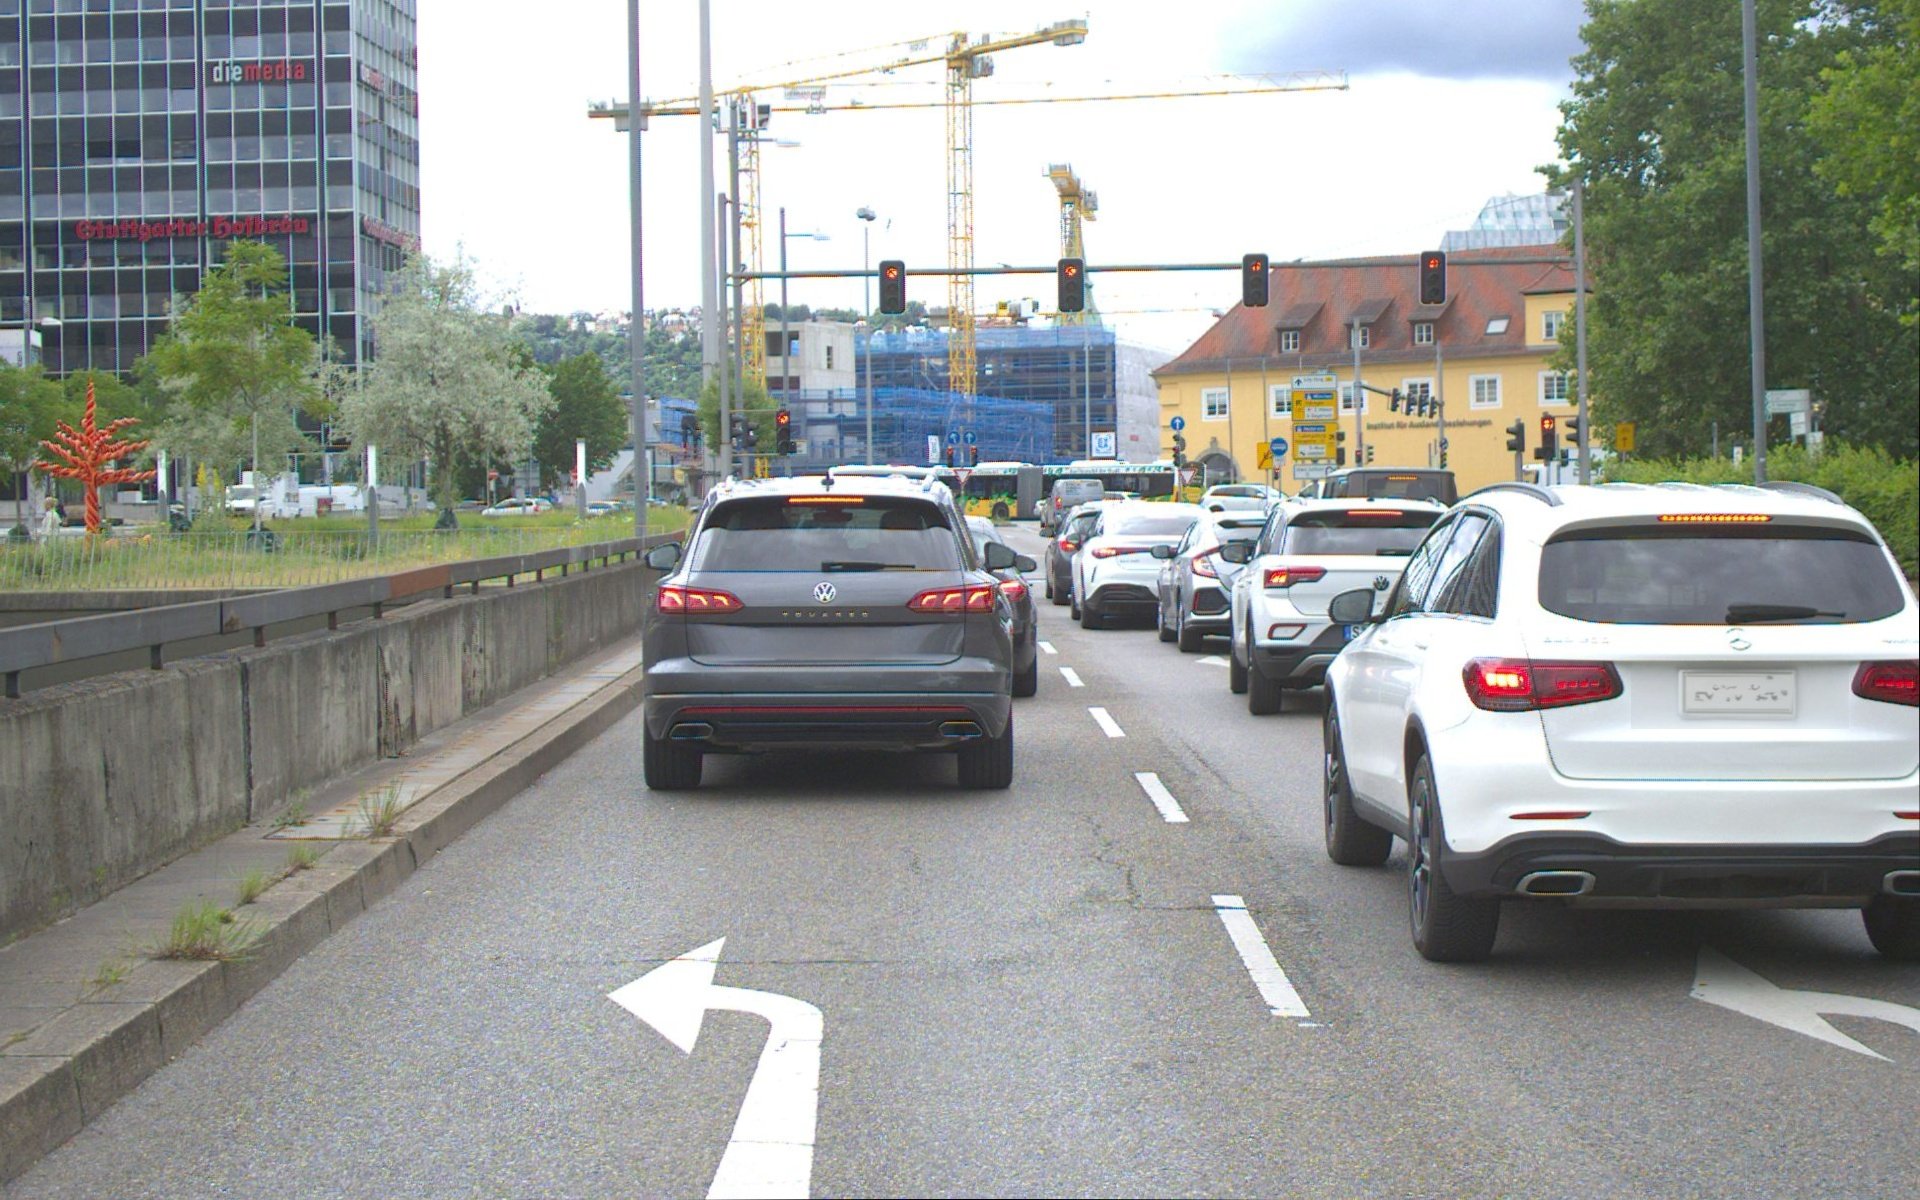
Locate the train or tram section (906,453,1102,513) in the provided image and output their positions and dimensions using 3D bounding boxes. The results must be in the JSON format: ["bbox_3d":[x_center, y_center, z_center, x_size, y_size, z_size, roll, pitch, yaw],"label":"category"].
[{"bbox_3d":[2.220,-6.067,177.824,10.417,2.999,2.591,2,1,35],"label":"train or tram section"}]

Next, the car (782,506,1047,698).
[{"bbox_3d":[-0.371,-0.037,27.615,1.951,1.379,3.931,1,2,-1],"label":"car"}]

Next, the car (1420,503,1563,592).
[{"bbox_3d":[9.122,-0.911,59.213,1.757,1.442,3.634,1,1,-2],"label":"car"}]

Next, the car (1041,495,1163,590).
[{"bbox_3d":[2.337,-0.973,57.455,1.926,1.524,4.048,0,1,1],"label":"car"}]

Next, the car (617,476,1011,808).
[{"bbox_3d":[-0.757,0.151,19.078,1.951,1.645,4.001,0,2,-1],"label":"car"}]

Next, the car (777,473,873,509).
[{"bbox_3d":[-6.239,-5.037,158.875,4.108,1.605,1.826,2,1,35],"label":"car"}]

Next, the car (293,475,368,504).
[{"bbox_3d":[-36.742,-6.442,200.662,3.992,1.563,1.834,1,0,26],"label":"car"}]

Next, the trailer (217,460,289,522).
[{"bbox_3d":[-30.832,-4.775,150.060,2.037,2.595,5.509,1,2,-1],"label":"trailer"}]

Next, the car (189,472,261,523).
[{"bbox_3d":[-30.969,-4.350,144.906,1.993,2.006,4.693,0,3,0],"label":"car"}]

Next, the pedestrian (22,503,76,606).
[{"bbox_3d":[-18.103,-0.903,68.316,0.860,2.006,0.629,-1,3,-1],"label":"pedestrian"}]

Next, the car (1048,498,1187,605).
[{"bbox_3d":[2.300,-0.734,51.171,1.926,1.524,4.048,0,1,1],"label":"car"}]

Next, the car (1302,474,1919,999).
[{"bbox_3d":[2.464,0.372,13.064,1.926,1.648,4.490,0,1,1],"label":"car"}]

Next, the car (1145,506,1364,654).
[{"bbox_3d":[2.979,-0.240,35.631,1.926,1.427,4.490,0,1,1],"label":"car"}]

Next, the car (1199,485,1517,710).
[{"bbox_3d":[2.902,-0.062,25.983,1.926,1.545,4.490,0,1,1],"label":"car"}]

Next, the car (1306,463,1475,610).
[{"bbox_3d":[6.185,-0.928,49.813,1.910,2.007,4.012,1,1,0],"label":"car"}]

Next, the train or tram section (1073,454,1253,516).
[{"bbox_3d":[10.114,-5.761,172.239,8.940,2.999,2.591,2,1,36],"label":"train or tram section"}]

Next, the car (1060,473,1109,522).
[{"bbox_3d":[4.488,-3.704,124.698,1.619,1.622,4.000,1,0,0],"label":"car"}]

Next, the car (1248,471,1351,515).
[{"bbox_3d":[16.144,-5.105,163.629,4.454,2.007,1.996,2,0,34],"label":"car"}]

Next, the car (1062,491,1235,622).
[{"bbox_3d":[2.263,-0.555,42.351,1.926,1.524,4.490,0,1,1],"label":"car"}]

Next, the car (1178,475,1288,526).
[{"bbox_3d":[11.164,-4.079,140.835,3.994,2.007,1.996,2,0,33],"label":"car"}]

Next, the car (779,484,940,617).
[{"bbox_3d":[-1.272,-0.671,44.409,1.951,1.594,3.931,1,2,-1],"label":"car"}]

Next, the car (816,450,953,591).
[{"bbox_3d":[-1.132,-1.213,51.973,1.951,2.011,3.931,1,2,-1],"label":"car"}]
